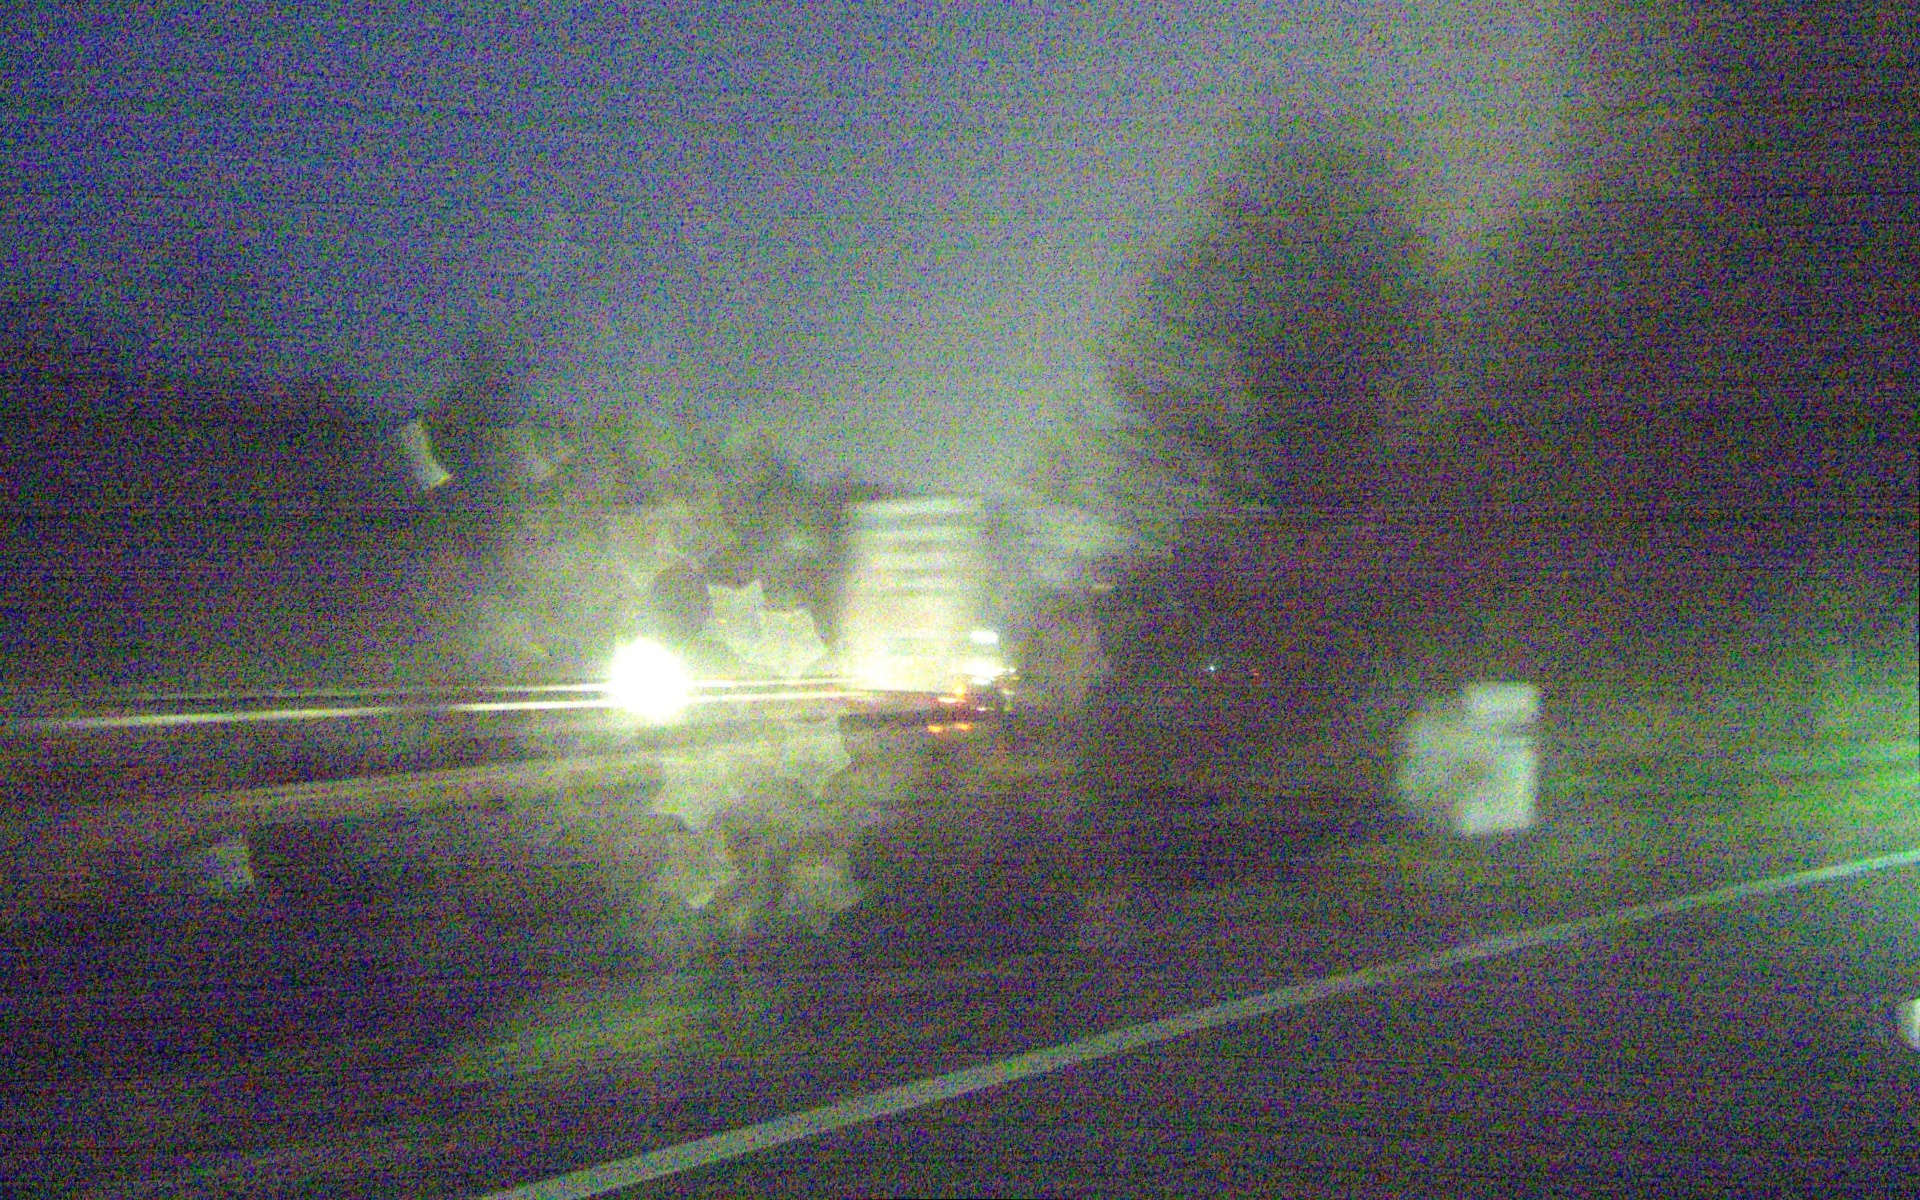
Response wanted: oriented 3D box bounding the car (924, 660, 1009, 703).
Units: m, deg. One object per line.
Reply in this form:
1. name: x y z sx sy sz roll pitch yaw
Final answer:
1. car: 0.306 3.177 39.302 1.626 1.595 3.843 -3 -5 30
